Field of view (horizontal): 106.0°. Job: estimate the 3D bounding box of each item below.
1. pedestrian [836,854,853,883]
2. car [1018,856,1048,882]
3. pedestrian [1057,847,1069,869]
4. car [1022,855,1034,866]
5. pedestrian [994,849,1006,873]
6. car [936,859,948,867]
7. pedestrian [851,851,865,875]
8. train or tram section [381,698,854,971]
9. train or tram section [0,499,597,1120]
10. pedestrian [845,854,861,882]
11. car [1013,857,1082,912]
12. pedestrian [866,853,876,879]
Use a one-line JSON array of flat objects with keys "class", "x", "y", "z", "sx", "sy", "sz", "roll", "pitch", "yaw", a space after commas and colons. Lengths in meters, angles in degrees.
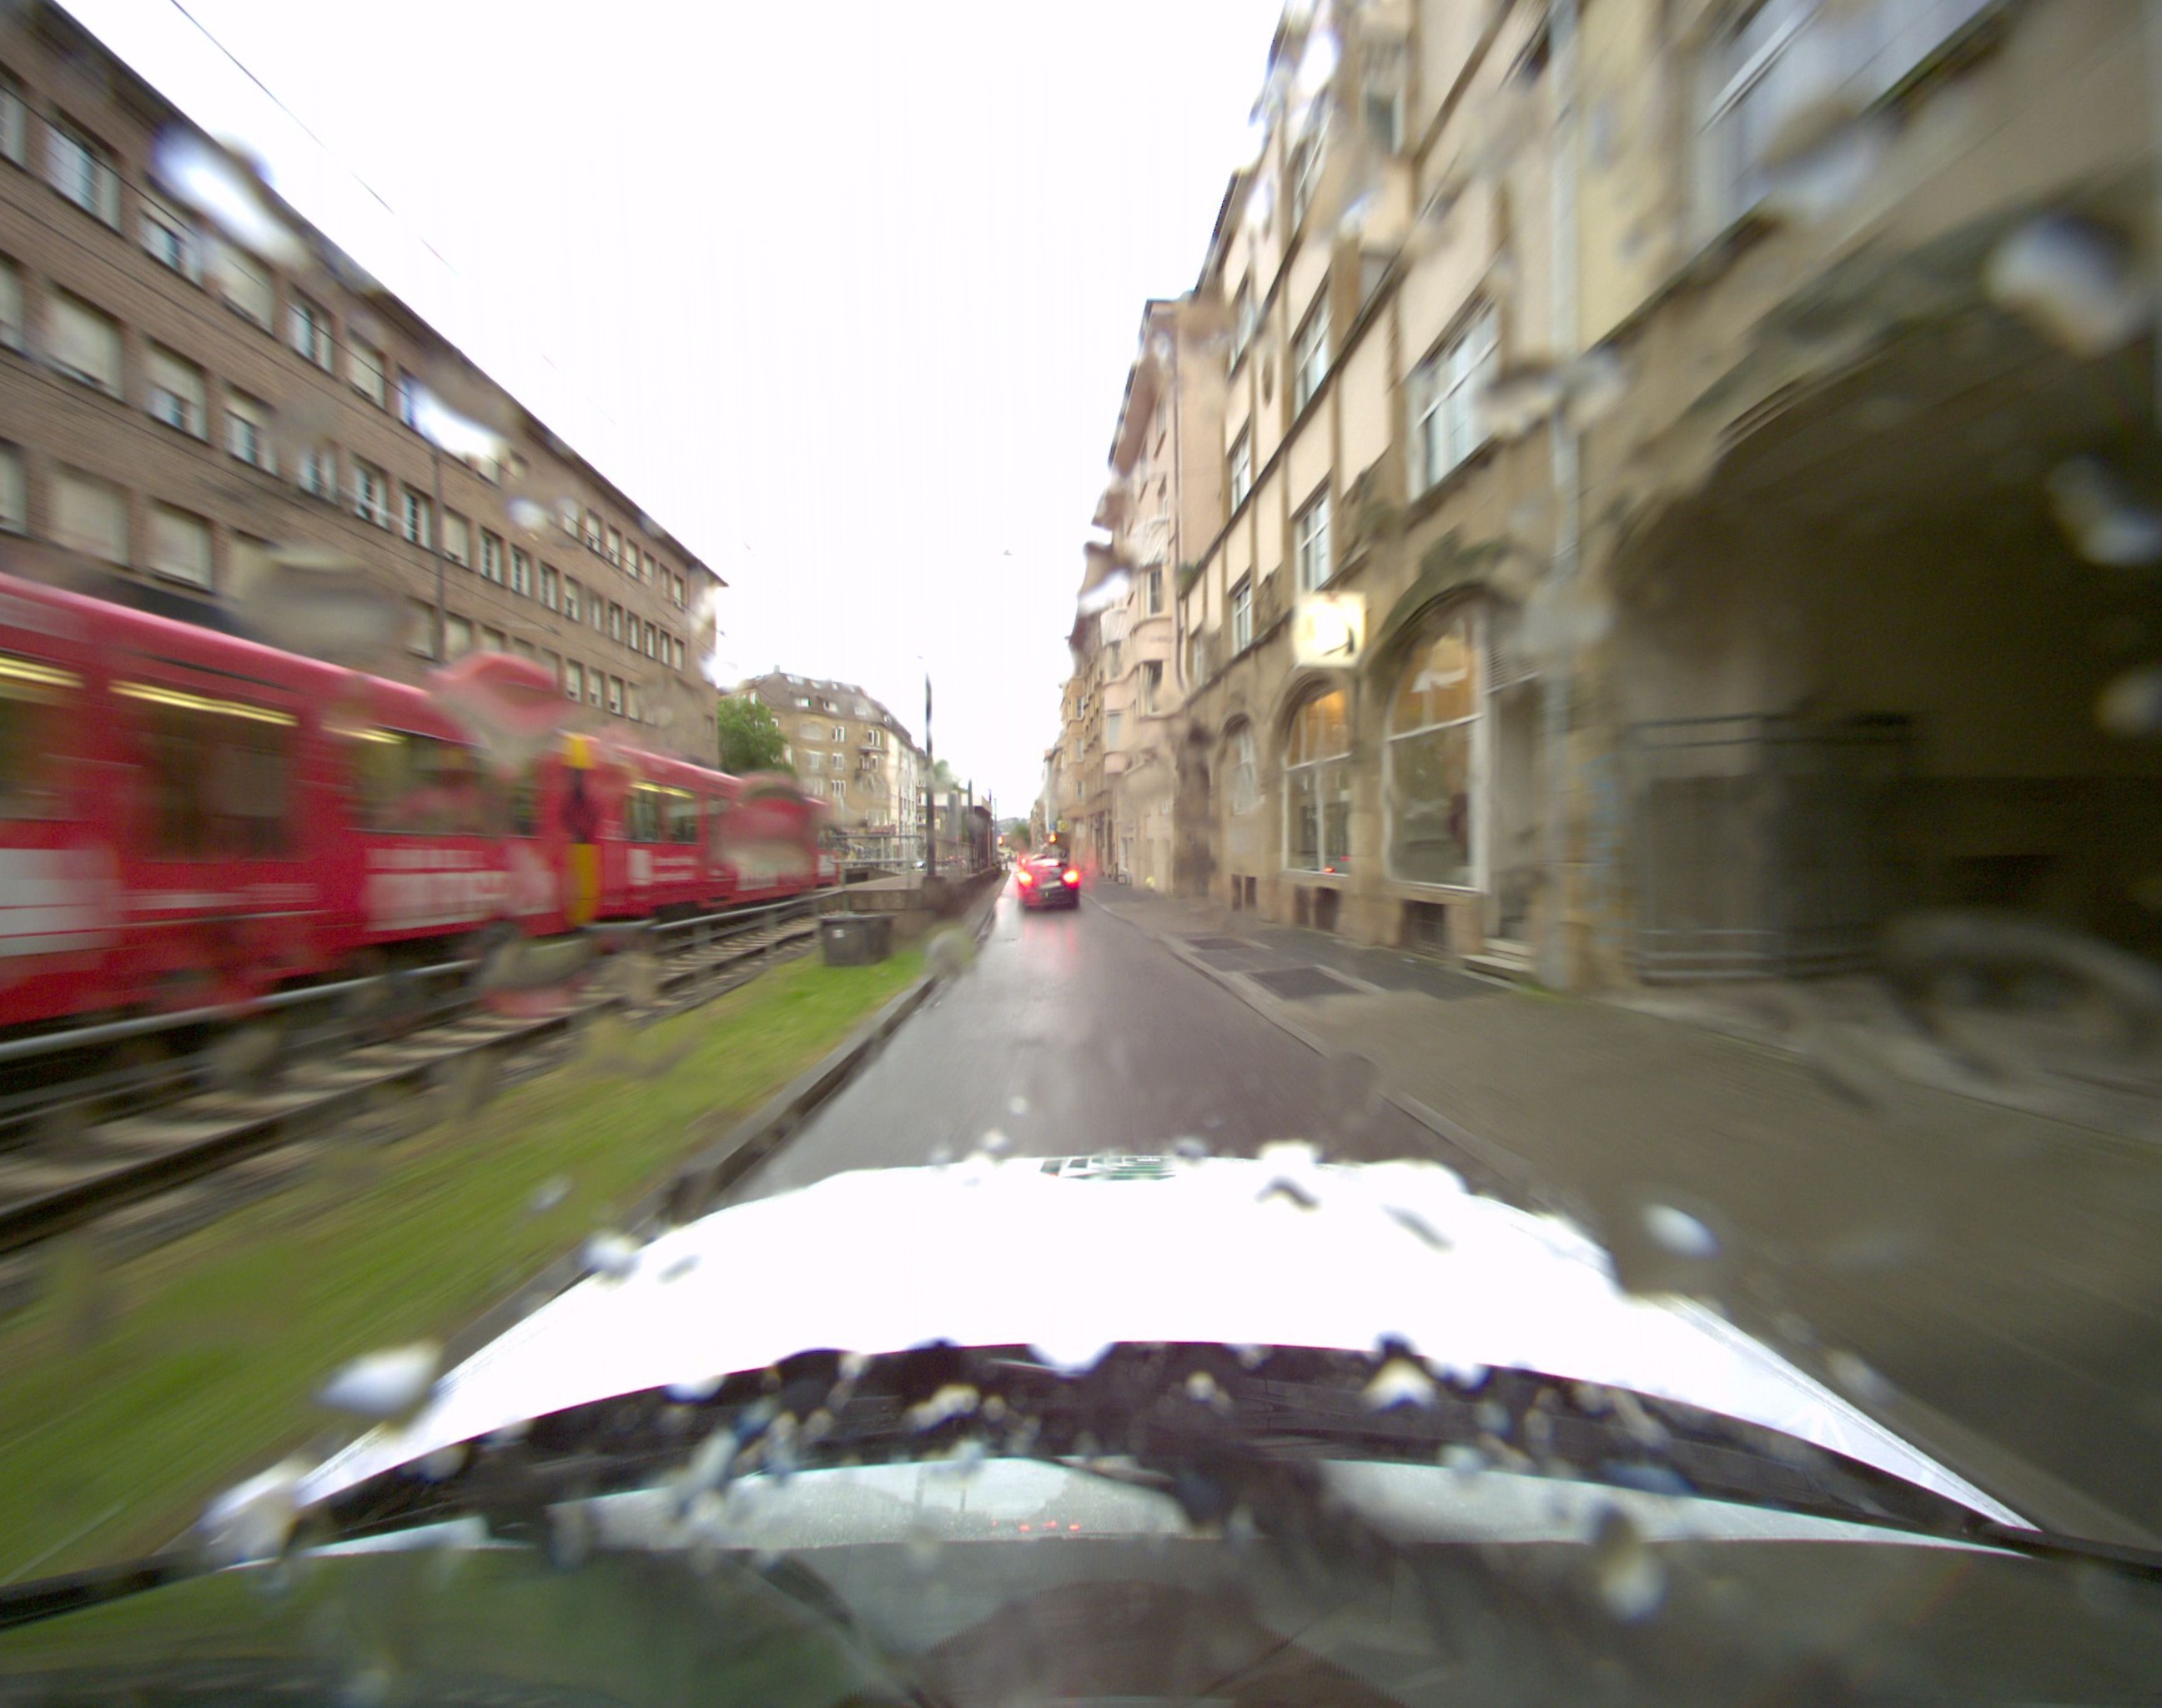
[{"class": "pedestrian", "x": -14.254, "y": 0.889, "z": 49.084, "sx": 0.742, "sy": 1.696, "sz": 0.881, "roll": -4, "pitch": -1, "yaw": -4}, {"class": "car", "x": -2.840, "y": 0.869, "z": 48.746, "sx": 1.645, "sy": 1.452, "sz": 3.996, "roll": -1, "pitch": 0, "yaw": -3}, {"class": "pedestrian", "x": -1.562, "y": 0.381, "z": 71.030, "sx": 0.897, "sy": 1.840, "sz": 0.967, "roll": -5, "pitch": 0, "yaw": -3}, {"class": "car", "x": -7.907, "y": 0.916, "z": 121.346, "sx": 1.762, "sy": 1.559, "sz": 4.738, "roll": -3, "pitch": 0, "yaw": -4}, {"class": "pedestrian", "x": -6.906, "y": 0.565, "z": 69.450, "sx": 0.924, "sy": 2.013, "sz": 0.946, "roll": -1, "pitch": 0, "yaw": -5}, {"class": "car", "x": -27.133, "y": 1.791, "z": 159.173, "sx": 1.718, "sy": 1.541, "sz": 3.929, "roll": -3, "pitch": 0, "yaw": -3}, {"class": "pedestrian", "x": -14.516, "y": 0.592, "z": 53.047, "sx": 0.691, "sy": 1.583, "sz": 0.955, "roll": -1, "pitch": -1, "yaw": -5}, {"class": "train or tram section", "x": -9.453, "y": -0.233, "z": 21.709, "sx": 2.710, "sy": 3.921, "sz": 19.828, "roll": -1, "pitch": 0, "yaw": -5}, {"class": "train or tram section", "x": -7.970, "y": -0.280, "z": 2.631, "sx": 2.710, "sy": 3.921, "sz": 19.265, "roll": -1, "pitch": 0, "yaw": -5}, {"class": "pedestrian", "x": -14.235, "y": 0.879, "z": 50.878, "sx": 0.742, "sy": 1.647, "sz": 0.639, "roll": -4, "pitch": -1, "yaw": -5}, {"class": "car", "x": -1.001, "y": 0.839, "z": 24.500, "sx": 1.862, "sy": 1.452, "sz": 3.996, "roll": -1, "pitch": 0, "yaw": -3}, {"class": "pedestrian", "x": -15.045, "y": 0.856, "z": 58.355, "sx": 0.510, "sy": 1.818, "sz": 0.798, "roll": -1, "pitch": 0, "yaw": -4}]
